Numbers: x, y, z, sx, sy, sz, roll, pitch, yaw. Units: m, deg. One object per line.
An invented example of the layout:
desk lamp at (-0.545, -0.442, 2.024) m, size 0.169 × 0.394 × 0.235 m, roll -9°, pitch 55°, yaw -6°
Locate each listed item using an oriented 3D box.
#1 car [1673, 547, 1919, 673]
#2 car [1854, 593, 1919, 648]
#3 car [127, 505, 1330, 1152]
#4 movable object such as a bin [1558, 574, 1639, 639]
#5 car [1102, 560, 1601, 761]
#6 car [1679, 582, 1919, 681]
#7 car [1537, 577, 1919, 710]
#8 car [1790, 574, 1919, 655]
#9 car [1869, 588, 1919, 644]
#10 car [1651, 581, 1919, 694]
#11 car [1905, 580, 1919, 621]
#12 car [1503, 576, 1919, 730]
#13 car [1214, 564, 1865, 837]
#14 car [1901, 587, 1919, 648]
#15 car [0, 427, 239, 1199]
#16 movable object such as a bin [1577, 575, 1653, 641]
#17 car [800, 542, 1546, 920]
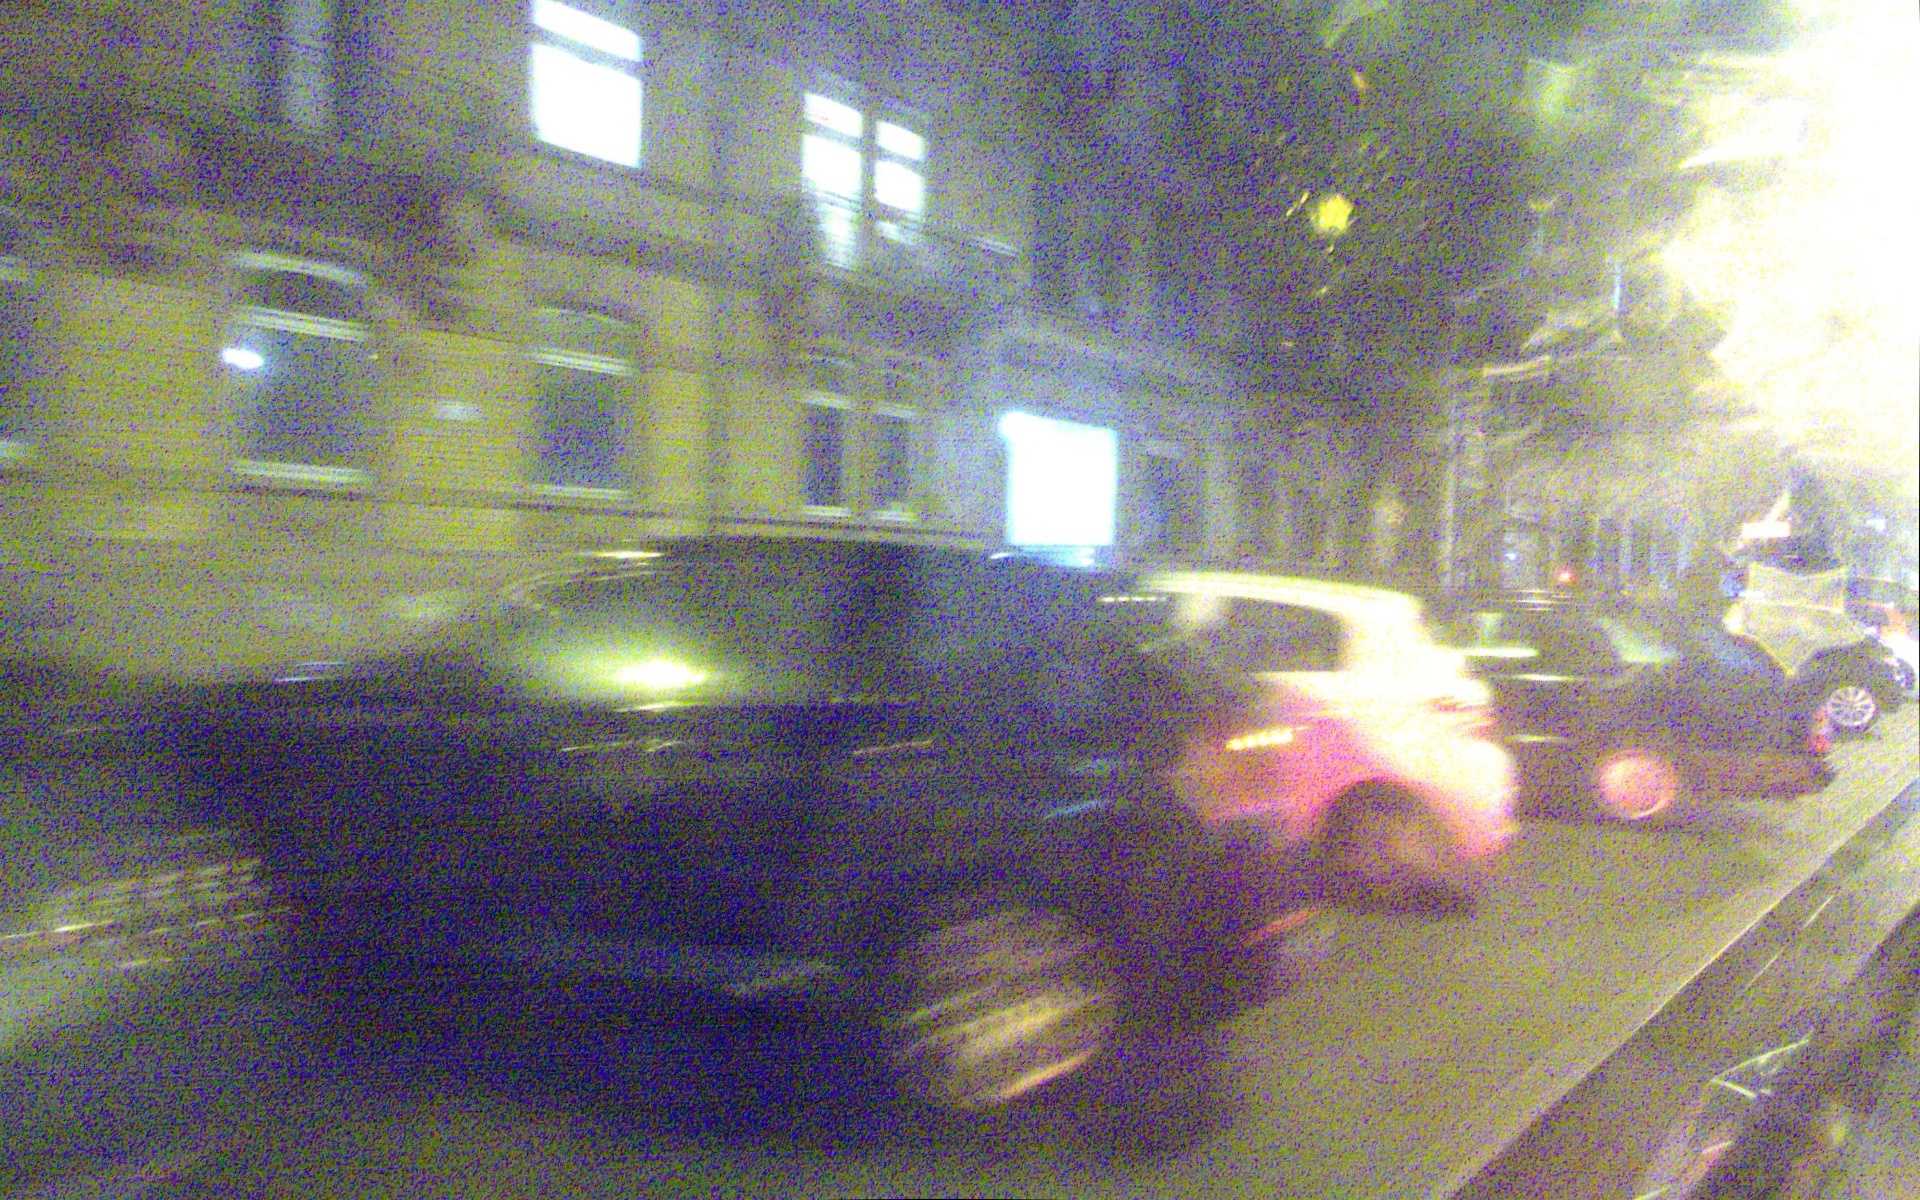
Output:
car at (17.325, 0.162, 20.117) m, size 4.656 × 2.275 × 1.939 m, roll 2°, pitch 2°, yaw 14°
car at (30.097, 0.627, 30.719) m, size 4.012 × 1.631 × 1.832 m, roll 1°, pitch 0°, yaw 21°
car at (-0.723, 0.523, 3.633) m, size 3.596 × 1.600 × 1.588 m, roll 1°, pitch 1°, yaw 11°
movable object such as a bin at (15.013, 0.130, 23.807) m, size 0.981 × 1.388 × 1.259 m, roll 0°, pitch 6°, yaw -40°
car at (3.450, 0.432, 9.498) m, size 3.947 × 1.470 × 1.679 m, roll 3°, pitch 2°, yaw 18°
car at (15.300, 0.521, 18.264) m, size 3.350 × 1.561 × 1.571 m, roll 2°, pitch 2°, yaw 14°
car at (10.765, 0.536, 14.395) m, size 3.939 × 1.571 × 1.993 m, roll 2°, pitch 2°, yaw 12°
car at (24.106, 0.389, 25.718) m, size 4.186 × 1.881 × 1.710 m, roll 3°, pitch 3°, yaw 15°
car at (32.435, 0.564, 32.710) m, size 4.060 × 1.786 × 1.845 m, roll 2°, pitch 1°, yaw 23°
car at (13.397, 0.542, 16.110) m, size 3.608 × 1.561 × 1.550 m, roll 2°, pitch 2°, yaw 20°
car at (58.944, 0.118, 59.112) m, size 4.872 × 2.370 × 2.221 m, roll 2°, pitch 2°, yaw 16°
car at (9.111, 0.553, 12.393) m, size 3.943 × 1.571 × 1.797 m, roll 2°, pitch 2°, yaw 15°
car at (3.698, 0.550, 7.171) m, size 3.631 × 1.478 × 1.597 m, roll 3°, pitch 2°, yaw 15°
car at (29.640, 0.512, 28.801) m, size 3.756 × 1.750 × 1.730 m, roll 0°, pitch 0°, yaw 20°
car at (-3.257, 0.465, 1.561) m, size 3.602 × 1.600 × 1.585 m, roll 3°, pitch 3°, yaw 15°
movable object such as a bin at (15.891, 0.176, 24.565) m, size 0.981 × 1.468 × 1.212 m, roll 0°, pitch 6°, yaw -40°
car at (1.071, 0.508, 5.697) m, size 3.610 × 1.600 × 1.581 m, roll 1°, pitch 1°, yaw 22°
